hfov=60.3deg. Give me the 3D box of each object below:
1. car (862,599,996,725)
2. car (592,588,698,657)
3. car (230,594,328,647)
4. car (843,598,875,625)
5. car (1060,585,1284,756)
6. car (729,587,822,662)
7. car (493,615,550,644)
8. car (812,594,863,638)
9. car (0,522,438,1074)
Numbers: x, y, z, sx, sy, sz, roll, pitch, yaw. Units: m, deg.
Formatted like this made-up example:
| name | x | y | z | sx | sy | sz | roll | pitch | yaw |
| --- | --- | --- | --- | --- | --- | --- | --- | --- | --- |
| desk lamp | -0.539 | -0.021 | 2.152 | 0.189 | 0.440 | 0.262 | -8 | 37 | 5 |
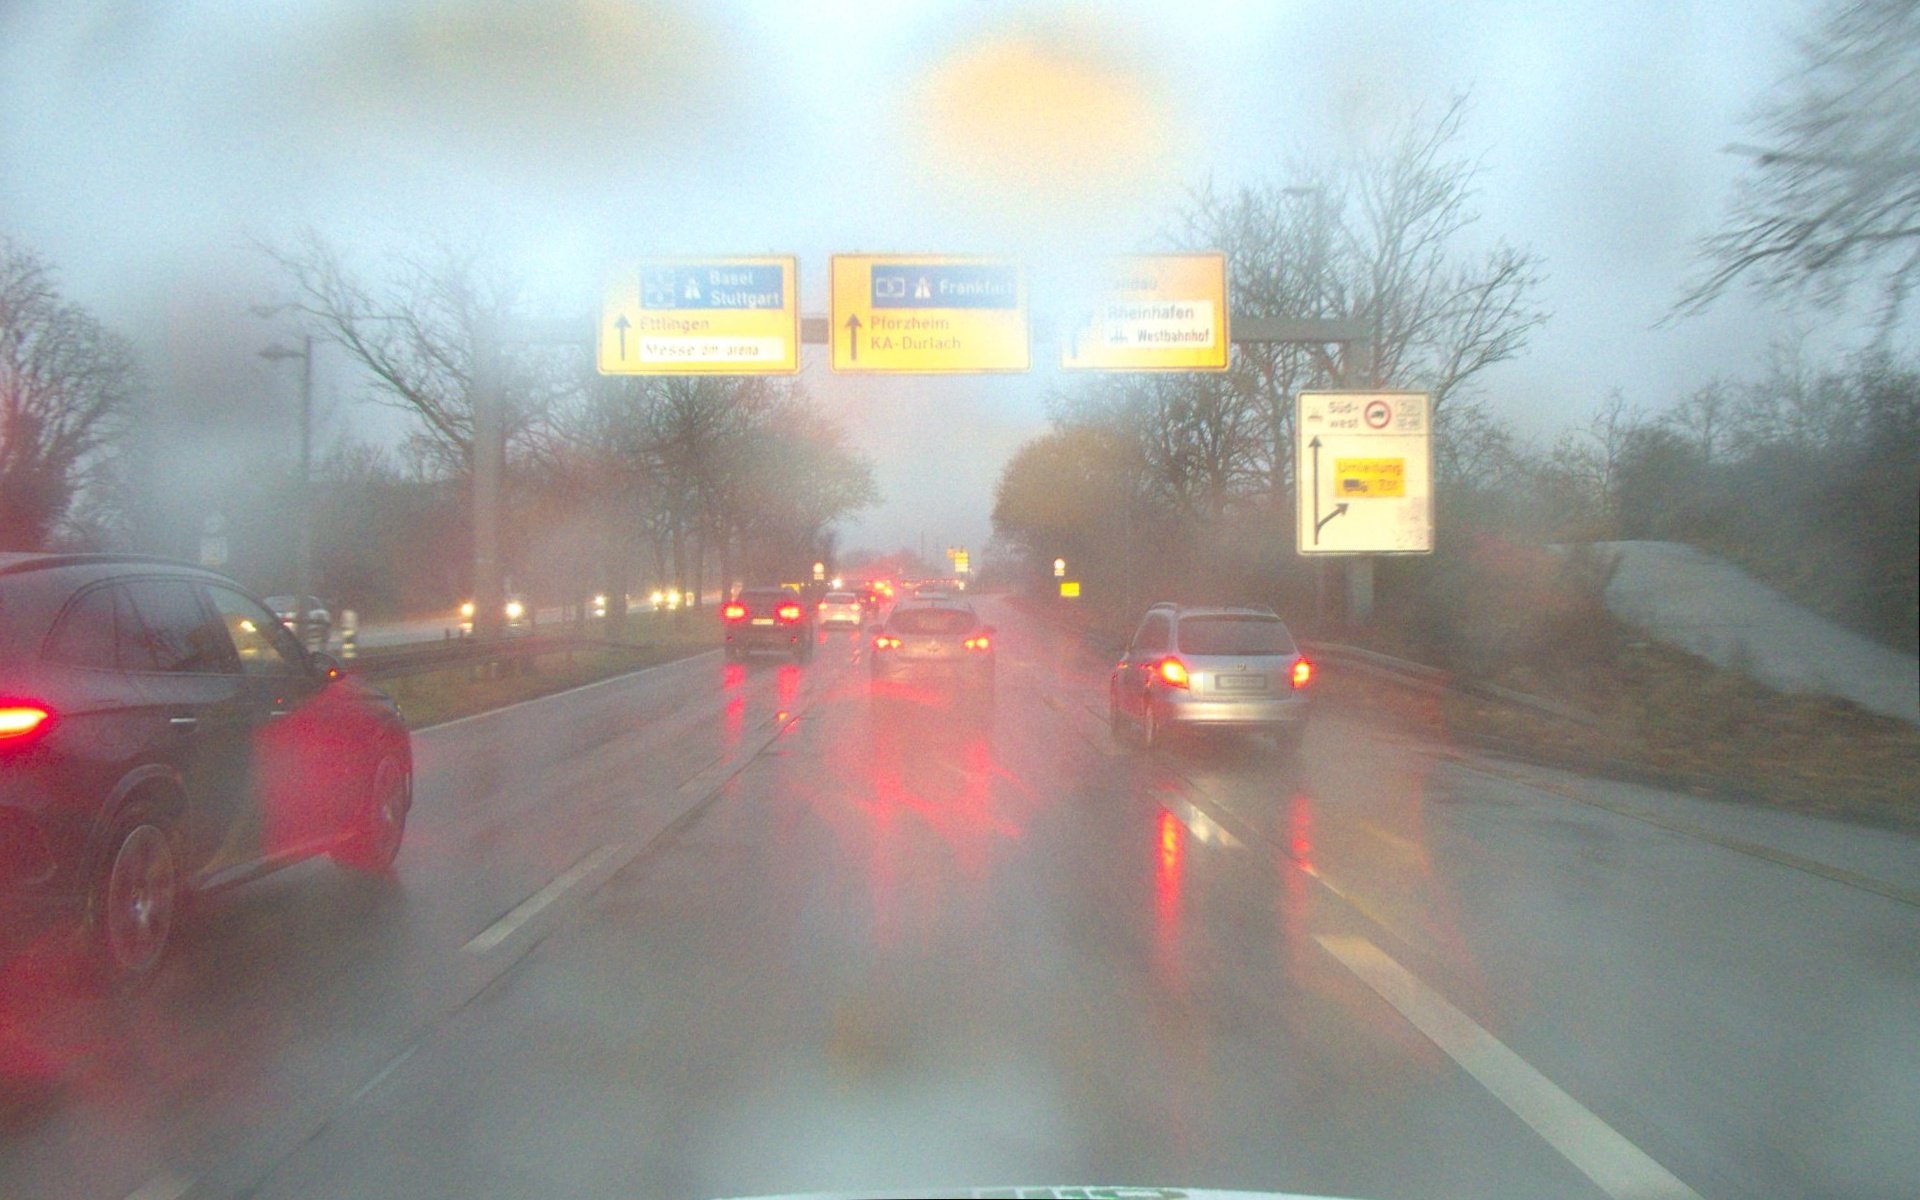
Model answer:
| name | x | y | z | sx | sy | sz | roll | pitch | yaw |
| --- | --- | --- | --- | --- | --- | --- | --- | --- | --- |
| car | -0.444 | 0.868 | 24.534 | 1.785 | 1.677 | 4.465 | 1 | -1 | -1 |
| car | -7.813 | 0.541 | 41.338 | 1.953 | 1.625 | 3.999 | 0 | 0 | -1 |
| car | -21.814 | 0.637 | 53.103 | 1.749 | 1.655 | 3.573 | 0 | 0 | -2 |
| car | -5.267 | 0.589 | 86.961 | 1.474 | 1.362 | 3.999 | -1 | 0 | -1 |
| car | 2.253 | 0.732 | 18.706 | 1.894 | 1.677 | 4.465 | 1 | -1 | -1 |
| car | -4.326 | 0.558 | 39.234 | 1.785 | 1.677 | 3.999 | -1 | 0 | -1 |
| car | -21.232 | 1.431 | 80.298 | 1.716 | 1.331 | 4.314 | 0 | 0 | -1 |
| car | -4.857 | 0.627 | 65.930 | 1.785 | 1.677 | 3.999 | -1 | 0 | -1 |
| car | -3.804 | 0.622 | 7.224 | 1.786 | 1.677 | 4.464 | -1 | 0 | -2 |
